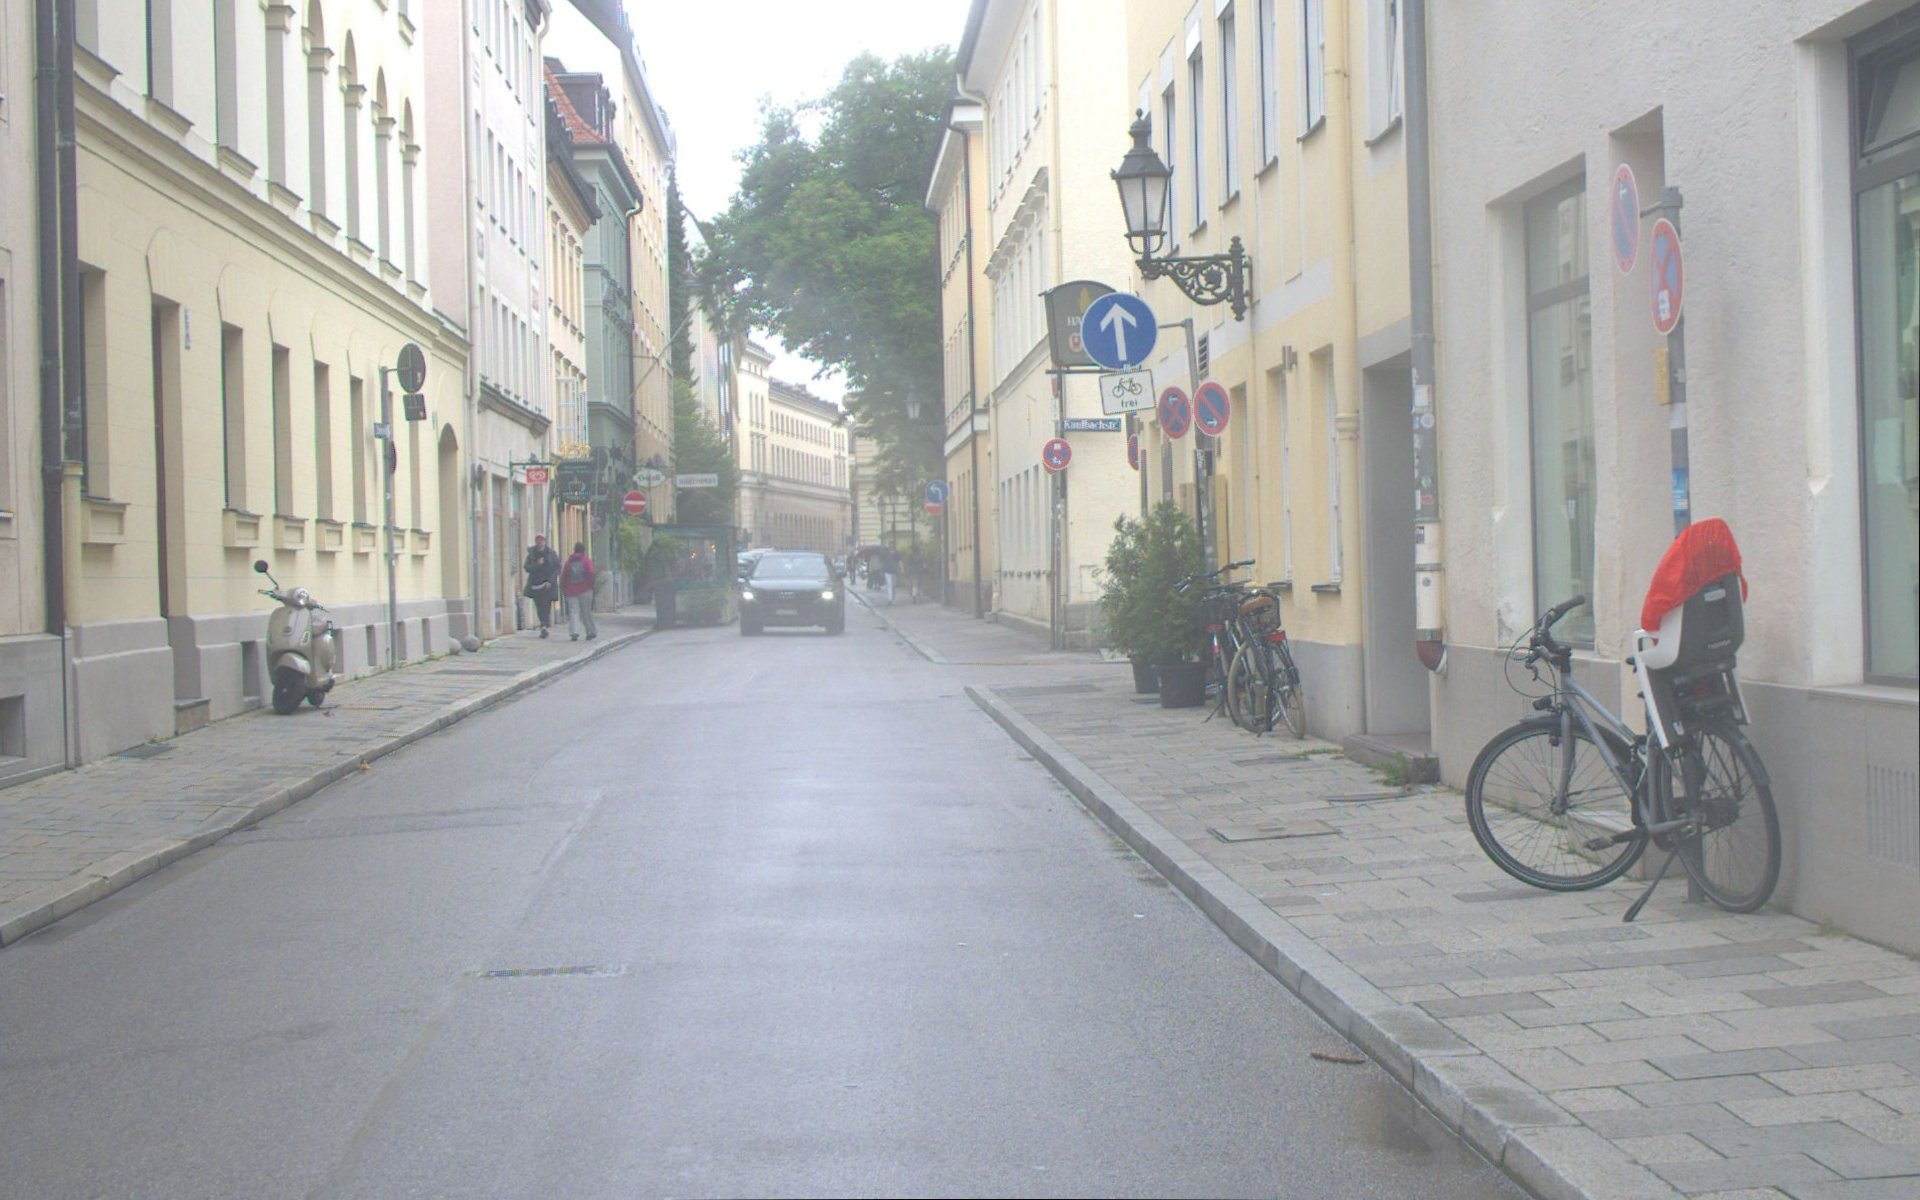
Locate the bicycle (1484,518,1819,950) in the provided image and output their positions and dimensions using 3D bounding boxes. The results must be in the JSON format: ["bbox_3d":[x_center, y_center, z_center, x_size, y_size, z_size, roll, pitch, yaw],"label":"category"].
[{"bbox_3d":[2.460,0.426,12.488,0.713,1.391,2.122,-4,1,0],"label":"bicycle"}]

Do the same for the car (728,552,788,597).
[{"bbox_3d":[-6.732,-0.858,114.777,1.779,1.461,3.542,0,1,0],"label":"car"}]

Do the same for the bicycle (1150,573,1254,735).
[{"bbox_3d":[1.803,0.385,25.782,0.565,1.133,1.684,-3,1,-1],"label":"bicycle"}]

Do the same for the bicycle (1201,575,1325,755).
[{"bbox_3d":[2.062,0.418,23.569,0.565,1.133,1.988,-3,1,-1],"label":"bicycle"}]

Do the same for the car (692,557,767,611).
[{"bbox_3d":[-6.299,-0.453,94.383,1.779,1.461,3.663,0,1,0],"label":"car"}]

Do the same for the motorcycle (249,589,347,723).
[{"bbox_3d":[-6.029,0.494,31.386,0.602,1.170,1.709,-1,1,-2],"label":"motorcycle"}]

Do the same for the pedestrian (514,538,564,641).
[{"bbox_3d":[-7.291,-0.187,59.580,0.809,1.749,0.990,0,2,-4],"label":"pedestrian"}]

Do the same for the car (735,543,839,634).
[{"bbox_3d":[-3.136,-0.232,63.078,1.812,1.588,4.000,-1,1,-2],"label":"car"}]

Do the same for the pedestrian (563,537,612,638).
[{"bbox_3d":[-6.382,-0.212,58.964,0.765,1.702,0.785,-2,1,-4],"label":"pedestrian"}]

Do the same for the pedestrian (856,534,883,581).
[{"bbox_3d":[-3.498,-1.629,132.895,1.015,1.796,1.349,0,1,-1],"label":"pedestrian"}]

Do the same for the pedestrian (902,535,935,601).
[{"bbox_3d":[-1.131,-0.879,94.035,0.880,1.796,1.046,0,1,-1],"label":"pedestrian"}]
